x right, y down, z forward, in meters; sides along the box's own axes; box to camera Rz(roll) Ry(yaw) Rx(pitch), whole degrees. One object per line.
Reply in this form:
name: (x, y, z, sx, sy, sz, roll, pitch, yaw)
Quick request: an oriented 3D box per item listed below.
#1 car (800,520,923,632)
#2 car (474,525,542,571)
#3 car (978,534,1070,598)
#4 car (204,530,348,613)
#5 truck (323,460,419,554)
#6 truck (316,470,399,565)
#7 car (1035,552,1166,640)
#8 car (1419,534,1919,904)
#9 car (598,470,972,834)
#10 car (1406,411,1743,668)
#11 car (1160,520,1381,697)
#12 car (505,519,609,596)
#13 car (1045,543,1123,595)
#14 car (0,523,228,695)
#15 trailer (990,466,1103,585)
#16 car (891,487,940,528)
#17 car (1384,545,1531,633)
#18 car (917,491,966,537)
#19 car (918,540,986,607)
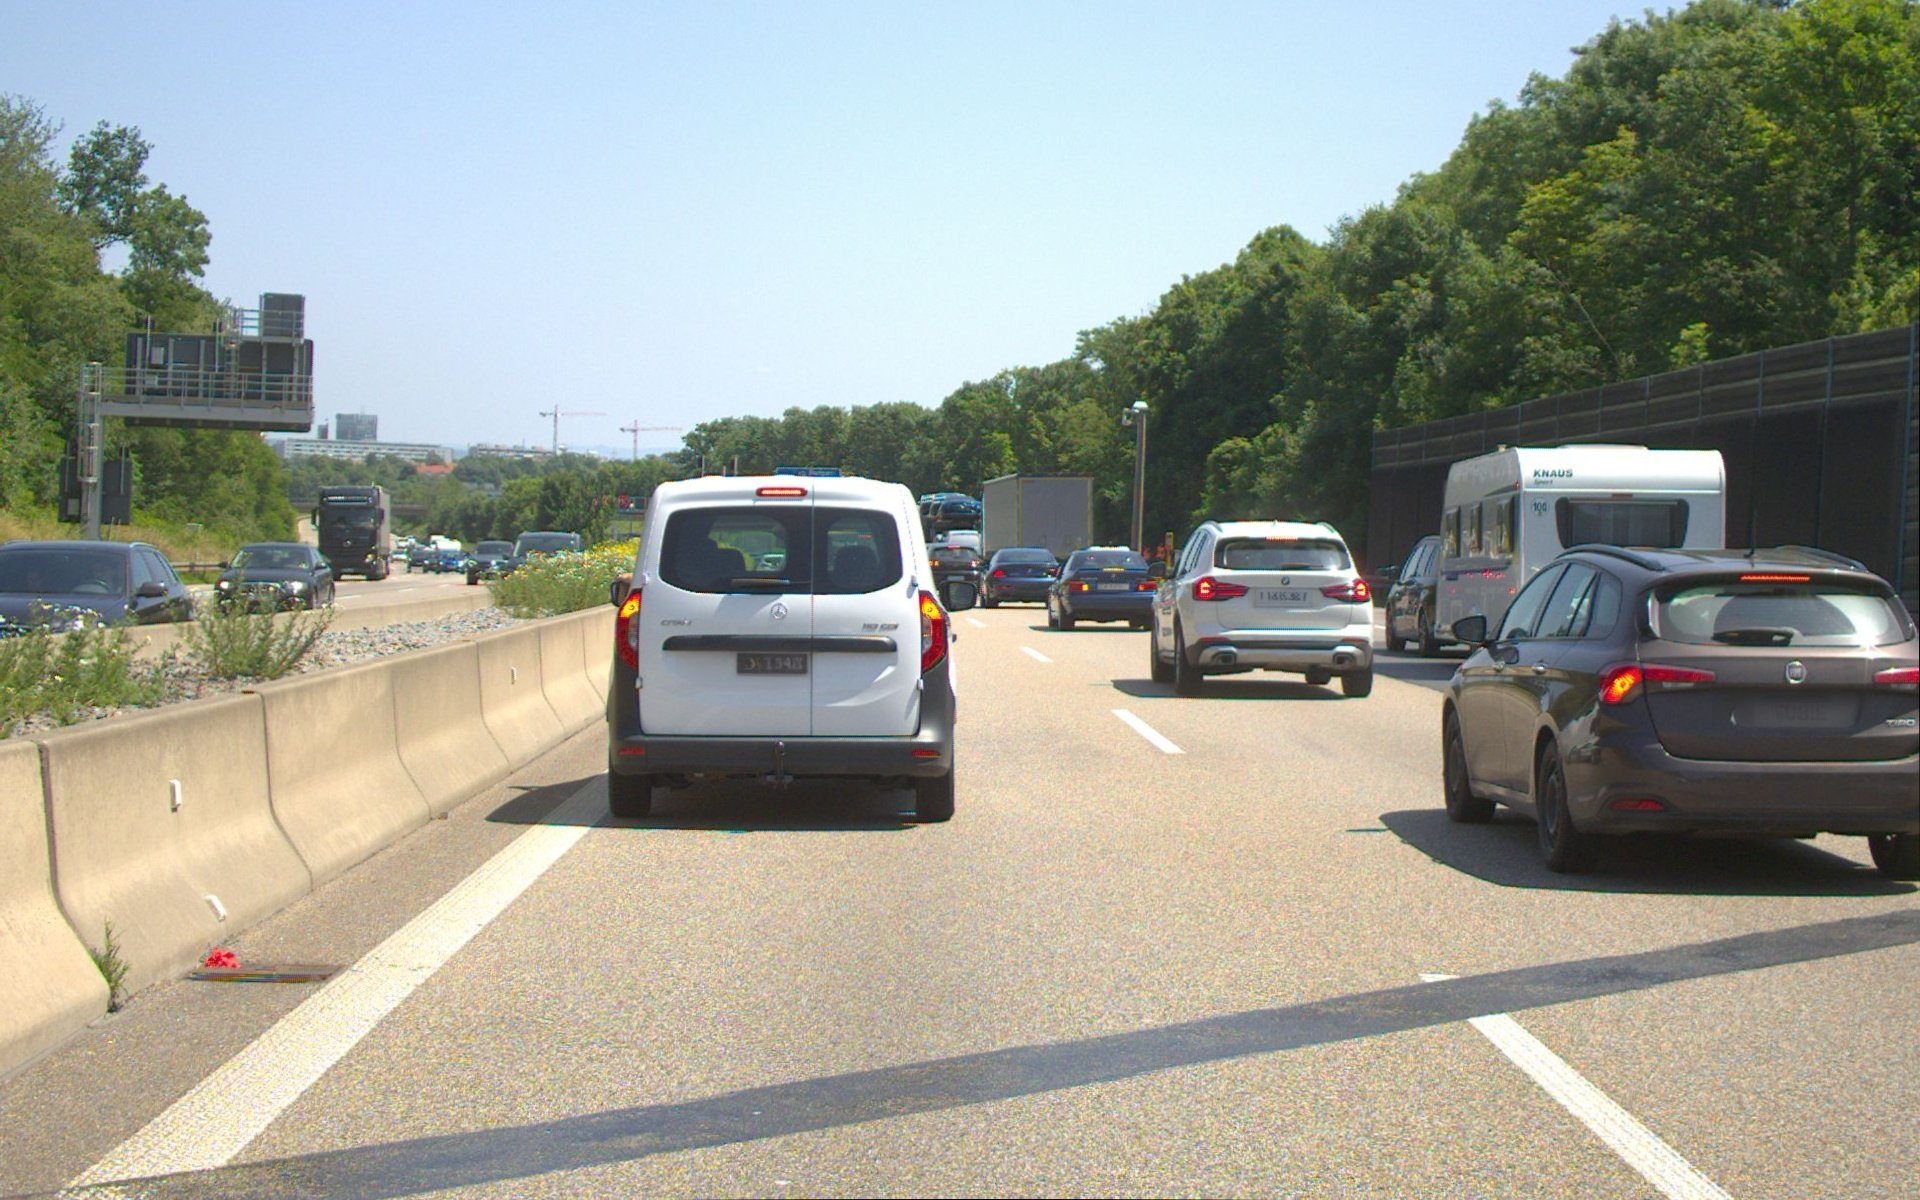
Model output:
car: (-1.746, -0.437, 59.534, 1.993, 1.853, 4.001, 1, 1, -3)
car: (-16.617, -1.907, 126.577, 1.993, 1.622, 4.475, 1, 1, -2)
car: (1.448, -0.803, 79.452, 1.824, 1.419, 4.001, 1, 1, -3)
car: (-12.304, -0.535, 62.064, 1.813, 1.397, 4.272, 1, 1, -1)
truck: (-25.852, -4.043, 151.432, 2.828, 3.925, 13.748, 1, 1, -4)
truck: (-25.372, -3.464, 144.914, 2.828, 3.925, 6.008, 1, 1, -4)
car: (2.343, -0.085, 58.317, 1.824, 1.419, 4.001, 1, 1, -3)
car: (3.486, 0.463, 16.692, 1.838, 1.508, 4.402, 1, 1, -1)
car: (-0.866, 0.224, 19.126, 1.802, 1.802, 4.000, 0, 1, 1)
car: (7.062, -0.698, 40.333, 2.478, 2.756, 6.221, 1, 1, -3)
car: (3.010, 0.034, 34.015, 1.871, 1.603, 3.879, 1, 1, 1)
car: (-9.377, -1.015, 80.264, 1.993, 1.718, 4.357, 1, 1, -1)
car: (3.506, -0.889, 97.821, 1.824, 1.419, 4.001, 1, 1, -3)
car: (-7.885, 0.030, 30.494, 1.875, 1.406, 4.412, 1, 1, -1)
trailer: (2.956, -2.580, 121.079, 3.081, 3.972, 10.325, 1, 1, -3)
car: (-2.211, -4.549, 169.839, 1.993, 2.007, 4.001, 0, 1, -7)
car: (8.409, -0.210, 58.388, 1.824, 1.419, 4.000, 1, 1, -1)
car: (-0.833, -3.819, 152.774, 1.993, 2.007, 4.001, 0, 1, -3)
car: (-0.270, -0.805, 104.208, 1.824, 1.982, 4.000, 0, 0, -3)
